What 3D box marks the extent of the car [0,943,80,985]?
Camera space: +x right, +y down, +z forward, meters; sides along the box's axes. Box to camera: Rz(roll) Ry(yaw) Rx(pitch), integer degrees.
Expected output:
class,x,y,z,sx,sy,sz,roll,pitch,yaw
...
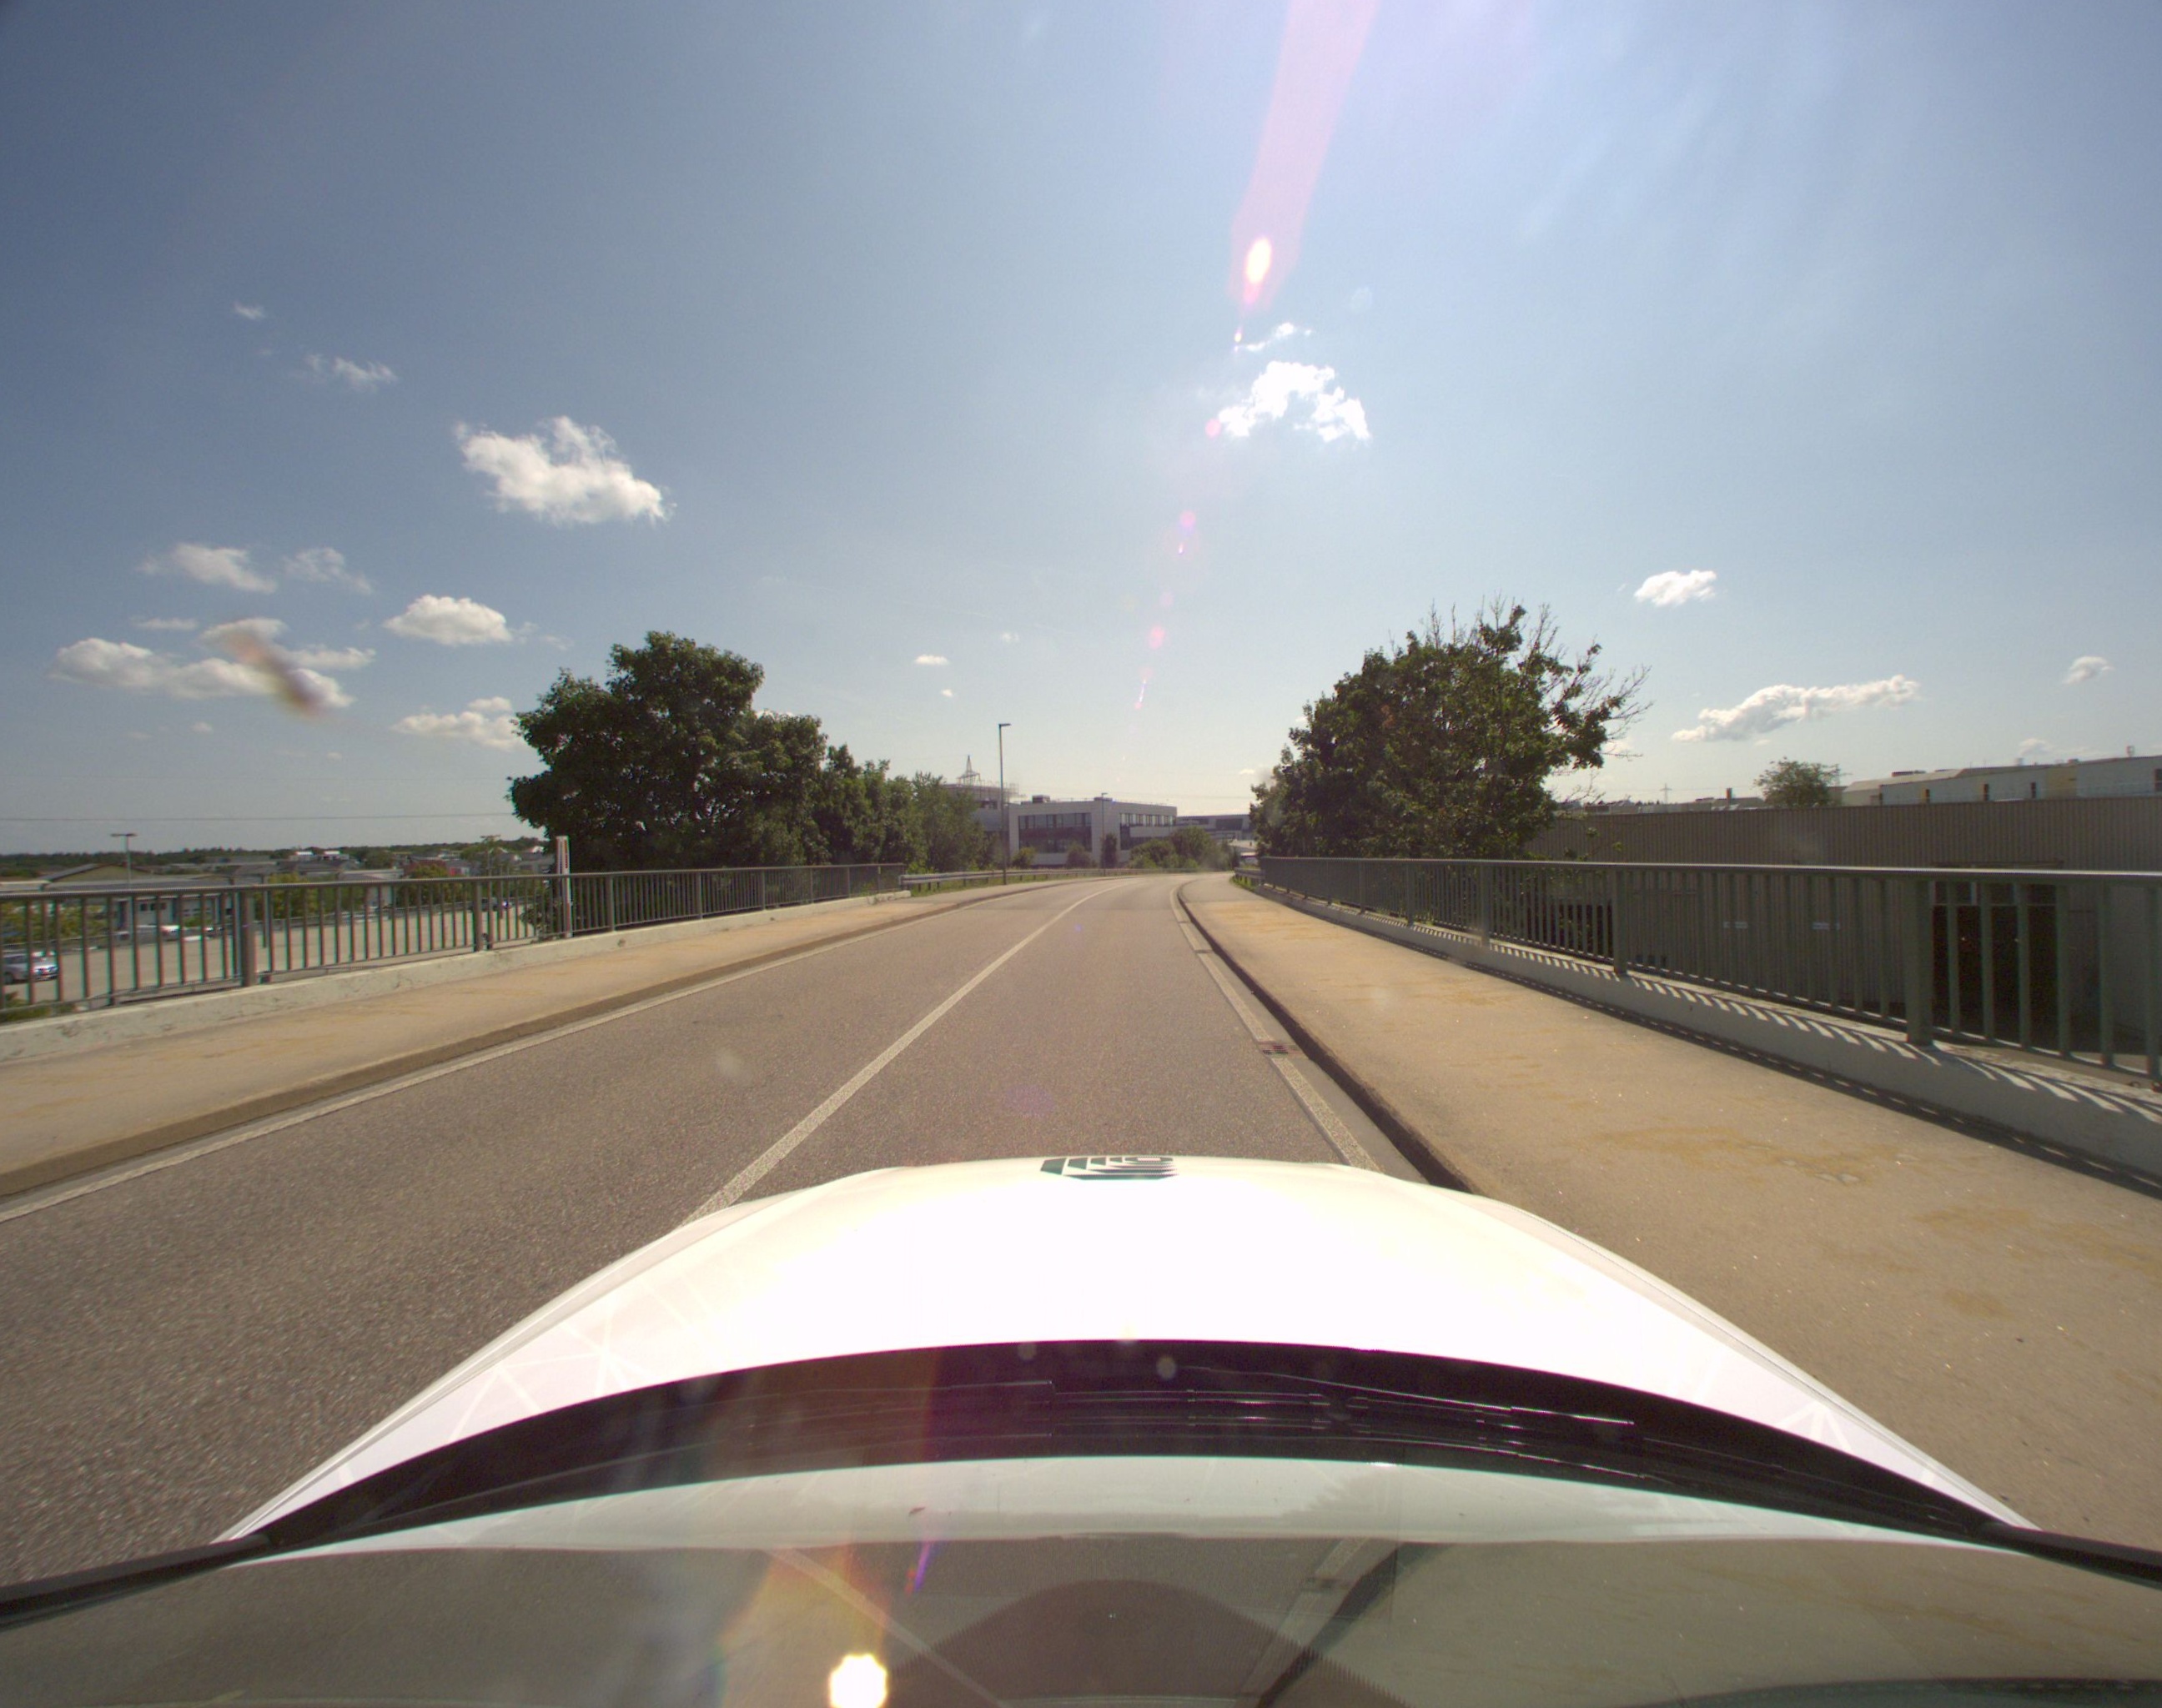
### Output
class,x,y,z,sx,sy,sz,roll,pitch,yaw
car,-53.705,5.581,40.918,3.983,1.747,1.903,-3,0,-7
